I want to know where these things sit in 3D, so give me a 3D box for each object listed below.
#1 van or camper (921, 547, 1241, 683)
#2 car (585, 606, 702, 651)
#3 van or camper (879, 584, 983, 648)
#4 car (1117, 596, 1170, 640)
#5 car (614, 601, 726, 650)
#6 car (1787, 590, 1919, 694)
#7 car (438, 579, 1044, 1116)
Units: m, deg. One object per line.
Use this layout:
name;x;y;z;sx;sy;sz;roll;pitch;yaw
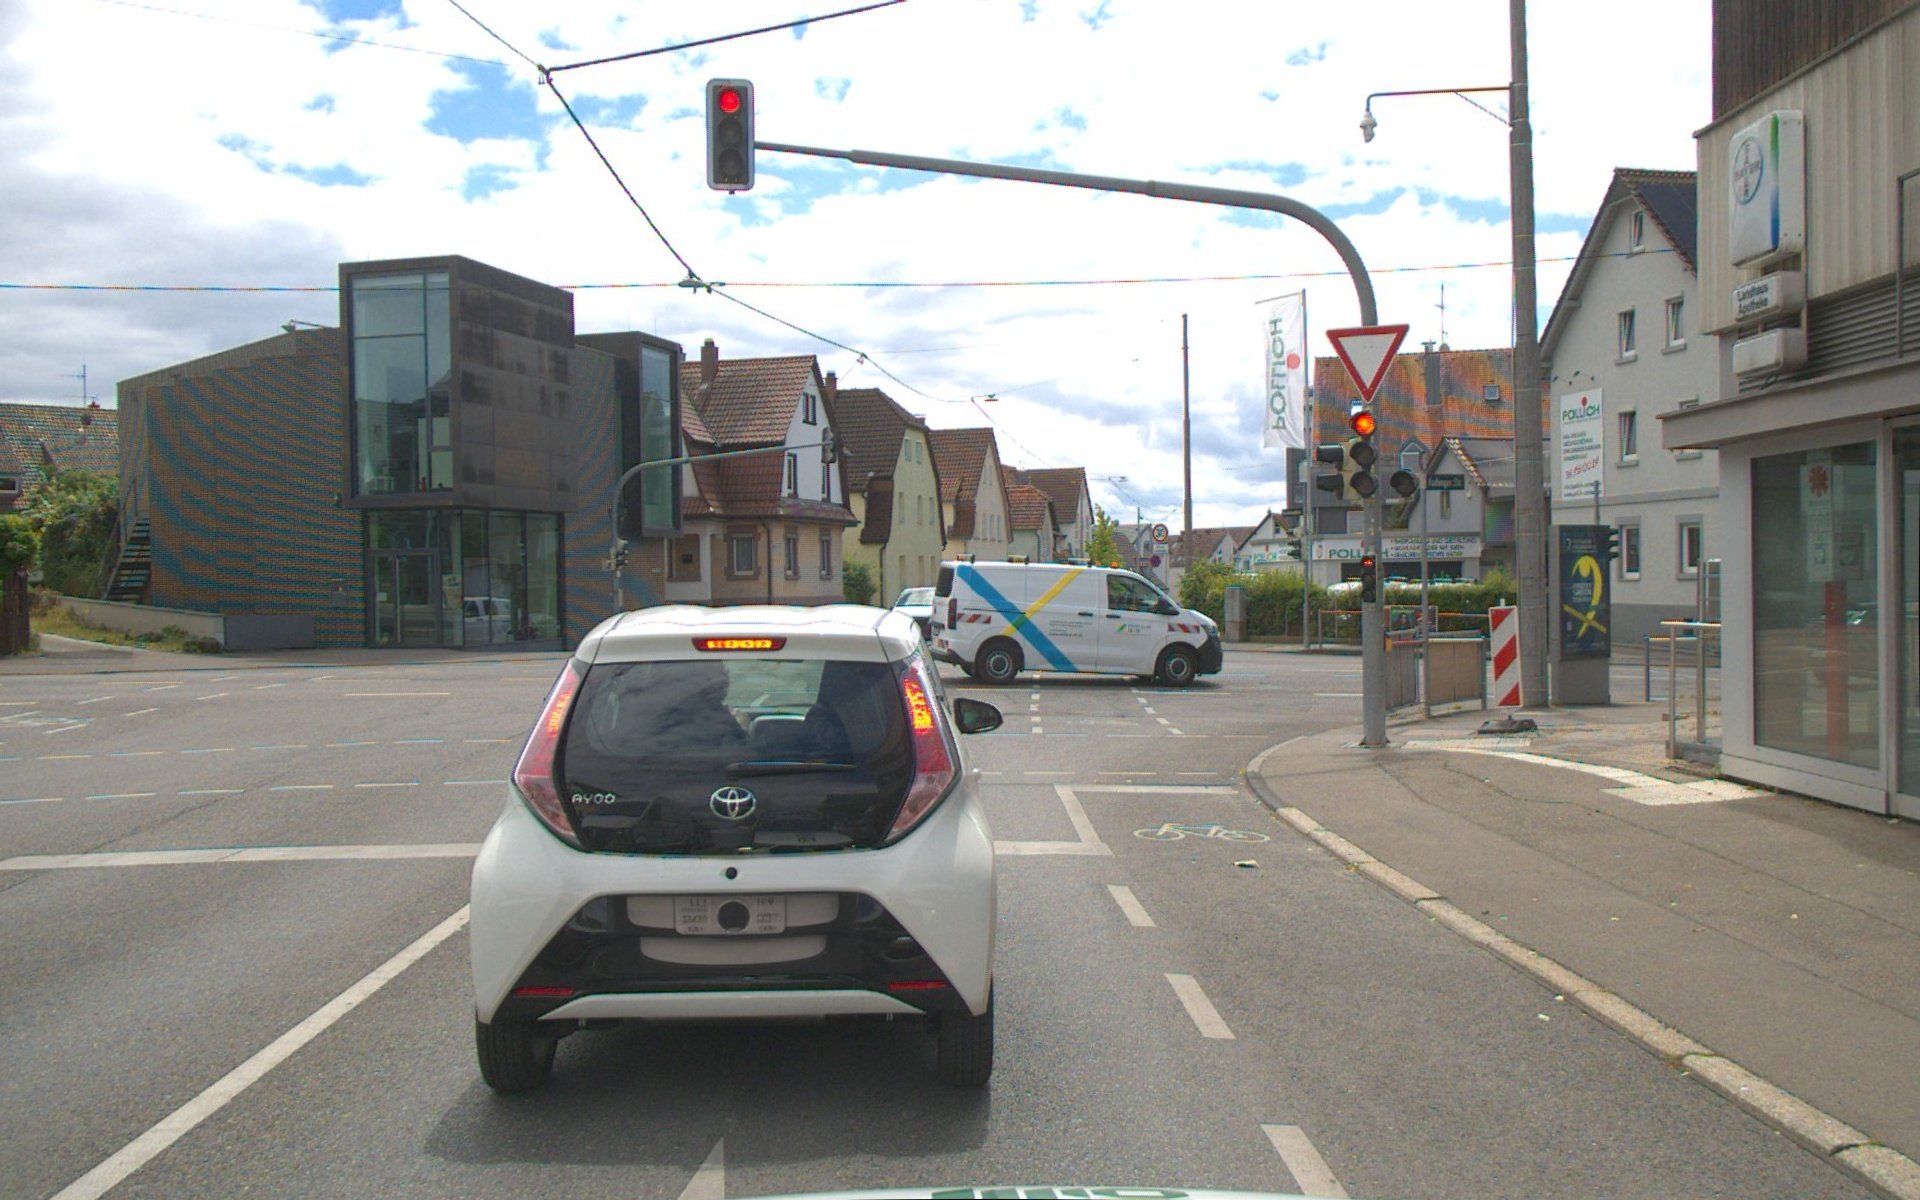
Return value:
van or camper;1.987;0.263;27.885;5.024;2.113;1.995;1;0;-10
car;-10.810;0.974;56.569;3.537;1.444;1.693;1;0;11
van or camper;-0.880;0.490;53.810;2.070;1.959;5.289;1;0;14
car;8.343;0.792;74.884;1.951;1.881;4.076;1;0;12
car;-10.271;0.885;58.701;3.537;1.633;1.693;1;0;11
car;18.212;0.738;31.157;4.417;1.773;1.996;-1;2;-10
car;-0.676;0.692;6.262;1.663;1.482;3.297;1;0;-3
